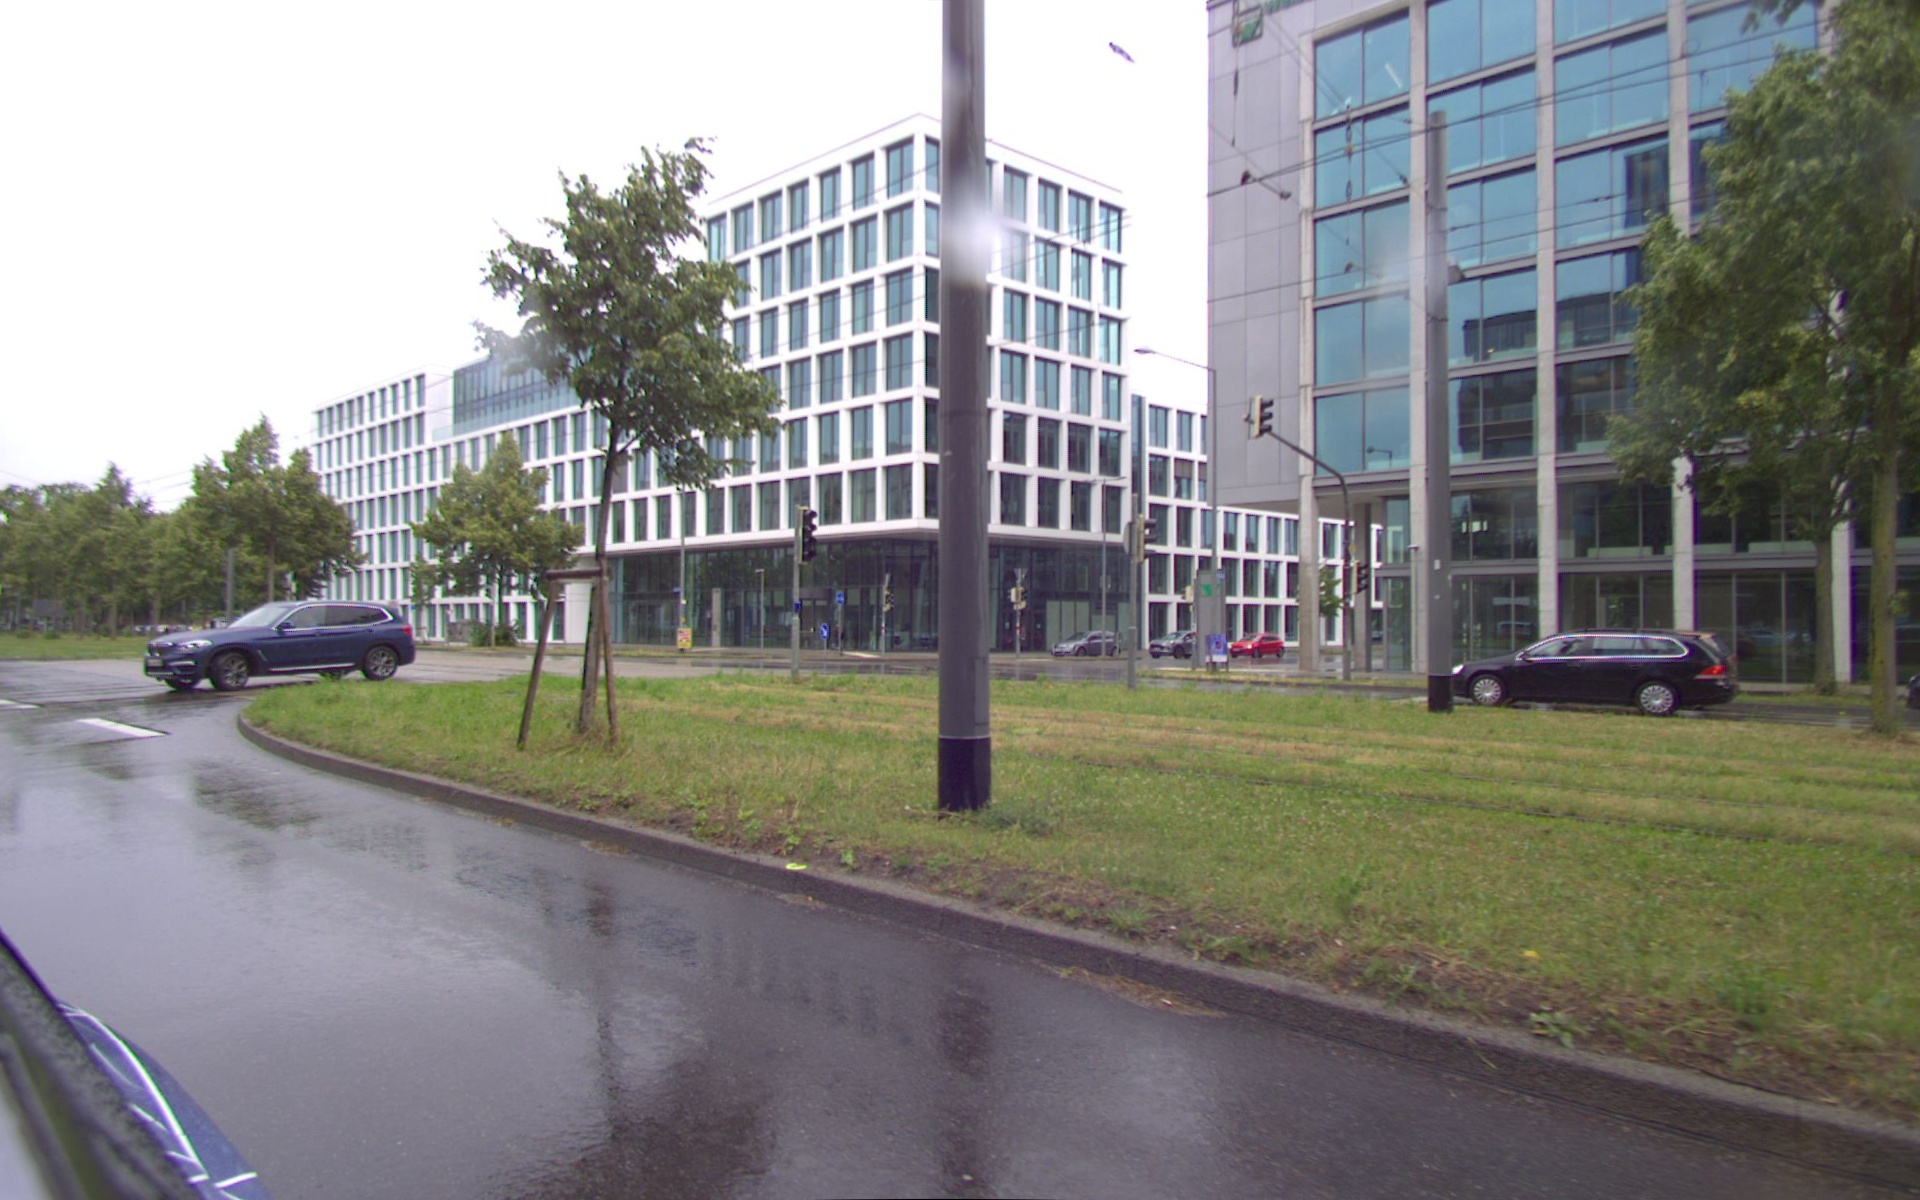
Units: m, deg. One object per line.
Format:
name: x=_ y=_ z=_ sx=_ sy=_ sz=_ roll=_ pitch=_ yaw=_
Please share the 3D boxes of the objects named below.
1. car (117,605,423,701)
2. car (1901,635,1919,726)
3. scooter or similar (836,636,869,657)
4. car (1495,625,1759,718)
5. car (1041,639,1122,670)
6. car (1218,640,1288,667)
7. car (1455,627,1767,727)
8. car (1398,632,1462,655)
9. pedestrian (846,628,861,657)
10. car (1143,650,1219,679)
car: x=-13.509 y=1.016 z=20.173 sx=1.922 sy=1.673 sz=4.668 roll=-1 pitch=-2 yaw=29
car: x=18.534 y=1.297 z=16.605 sx=4.265 sy=1.552 sz=1.932 roll=-4 pitch=-4 yaw=37
scooter or similar: x=-6.259 y=2.691 z=59.065 sx=0.549 sy=1.161 sz=2.135 roll=-4 pitch=-4 yaw=37
car: x=13.558 y=1.444 z=20.726 sx=4.265 sy=1.707 sz=1.932 roll=-4 pitch=-4 yaw=38
car: x=6.200 y=2.775 z=51.595 sx=4.032 sy=1.447 sz=1.890 roll=1 pitch=-4 yaw=-42
car: x=17.379 y=3.155 z=59.964 sx=4.028 sy=1.447 sz=1.891 roll=0 pitch=-4 yaw=-38
car: x=11.529 y=1.324 z=18.097 sx=4.458 sy=1.571 sz=1.932 roll=-3 pitch=-3 yaw=39
car: x=36.869 y=3.434 z=79.452 sx=1.969 sy=1.675 sz=4.005 roll=1 pitch=-4 yaw=-42
pedestrian: x=-6.208 y=2.456 z=59.030 sx=0.546 sy=1.656 sz=0.626 roll=0 pitch=-2 yaw=40
car: x=12.098 y=3.530 z=55.359 sx=4.028 sy=1.447 sz=1.891 roll=0 pitch=-4 yaw=-38
